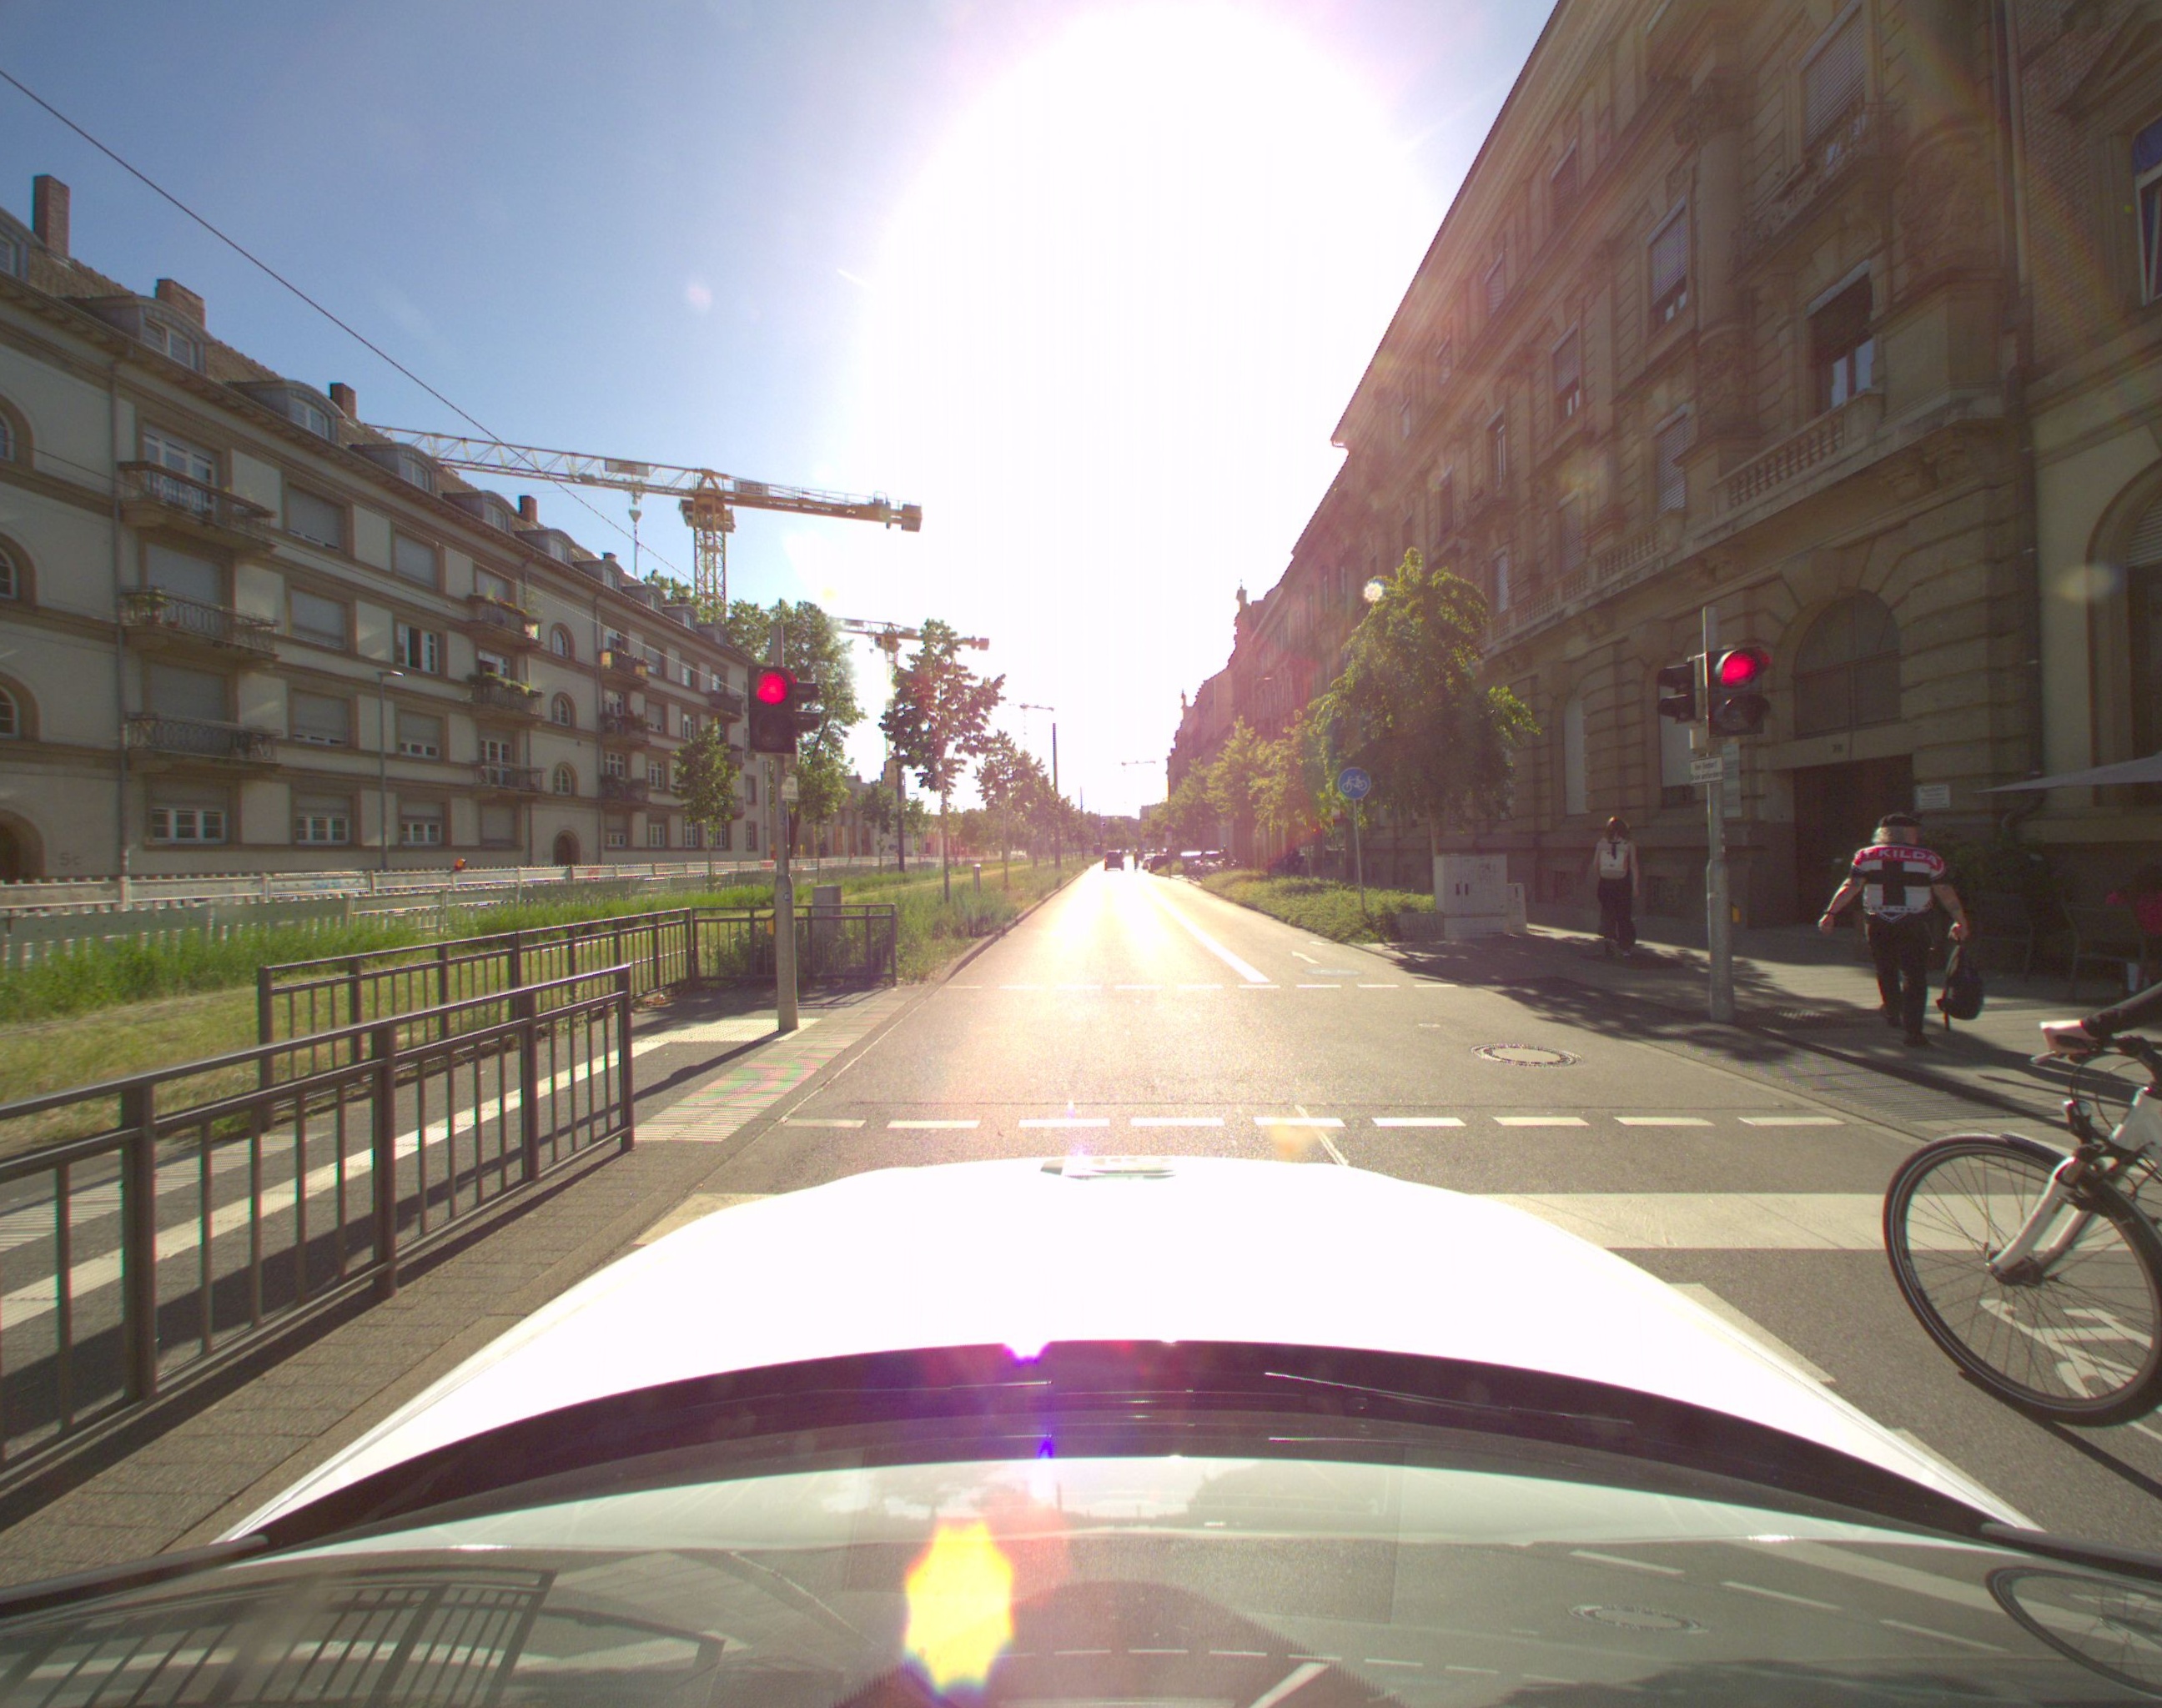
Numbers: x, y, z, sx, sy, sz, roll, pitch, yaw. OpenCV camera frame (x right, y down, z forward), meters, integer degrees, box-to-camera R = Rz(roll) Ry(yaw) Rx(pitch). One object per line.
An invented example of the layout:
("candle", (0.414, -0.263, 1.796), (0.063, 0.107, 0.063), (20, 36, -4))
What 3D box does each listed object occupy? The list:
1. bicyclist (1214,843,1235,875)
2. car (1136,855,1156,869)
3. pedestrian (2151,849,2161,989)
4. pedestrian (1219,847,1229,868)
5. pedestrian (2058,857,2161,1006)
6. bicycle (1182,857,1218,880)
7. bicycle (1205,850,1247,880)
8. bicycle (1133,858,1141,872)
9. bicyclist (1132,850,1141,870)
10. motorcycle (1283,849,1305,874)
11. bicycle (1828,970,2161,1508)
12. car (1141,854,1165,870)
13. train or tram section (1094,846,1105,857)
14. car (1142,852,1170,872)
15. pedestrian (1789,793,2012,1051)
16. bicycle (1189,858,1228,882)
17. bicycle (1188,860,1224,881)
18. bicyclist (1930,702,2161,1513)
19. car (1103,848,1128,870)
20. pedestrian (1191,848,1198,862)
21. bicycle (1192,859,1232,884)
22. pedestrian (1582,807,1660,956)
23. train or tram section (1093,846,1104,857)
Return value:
("bicyclist", (7.236, 0.260, 41.098), (0.795, 1.530, 0.662), (-6, 0, 1))
("car", (7.333, 0.851, 92.308), (2.020, 1.499, 4.532), (-2, 0, 2))
("pedestrian", (9.887, 0.559, 6.917), (0.703, 1.236, 0.635), (-3, 0, 1))
("pedestrian", (11.315, 0.269, 64.506), (0.611, 1.611, 0.669), (-2, 0, 1))
("pedestrian", (9.103, 0.632, 6.954), (0.703, 1.178, 0.635), (-3, 0, 1))
("bicycle", (6.434, 0.780, 43.955), (1.786, 1.030, 0.528), (-6, 0, 1))
("bicycle", (7.308, 0.536, 41.140), (1.887, 1.330, 0.617), (-6, 0, 0))
("bicycle", (4.762, 0.949, 69.589), (0.599, 1.181, 1.870), (0, 0, 1))
("bicyclist", (4.754, 0.523, 69.853), (0.681, 1.673, 0.922), (0, 0, 1))
("motorcycle", (11.488, 0.400, 44.032), (0.697, 1.267, 1.983), (-2, 0, 2))
("bicycle", (2.727, 0.936, 1.793), (0.555, 1.092, 1.793), (0, 0, 1))
("car", (6.989, 0.754, 79.780), (2.020, 1.499, 4.532), (-2, 0, 2))
("train or tram section", (4.987, -0.562, 218.605), (2.745, 2.743, 9.870), (0, -1, 3))
("car", (6.167, 0.656, 67.456), (2.020, 1.499, 4.655), (-2, 0, 2))
("pedestrian", (6.285, 0.470, 6.279), (0.869, 1.788, 0.963), (0, 0, -25))
("bicycle", (6.390, 0.801, 40.902), (1.786, 1.030, 0.528), (-6, 0, 1))
("bicycle", (6.560, 0.866, 42.639), (1.786, 1.030, 0.528), (-2, 0, 1))
("bicyclist", (2.673, 0.536, 1.762), (0.776, 1.711, 0.869), (0, 0, 1))
("car", (3.184, 0.447, 76.430), (2.192, 1.926, 4.655), (-2, 0, 2))
("pedestrian", (12.641, 0.119, 90.599), (0.611, 1.611, 0.669), (-2, 0, 1))
("bicycle", (6.354, 0.831, 39.528), (1.786, 1.030, 0.528), (-6, 0, 1))
("pedestrian", (7.346, 0.343, 11.069), (0.645, 1.908, 1.085), (-2, 0, 44))
("train or tram section", (4.523, -0.650, 208.761), (2.745, 2.743, 9.870), (0, -1, 3))
